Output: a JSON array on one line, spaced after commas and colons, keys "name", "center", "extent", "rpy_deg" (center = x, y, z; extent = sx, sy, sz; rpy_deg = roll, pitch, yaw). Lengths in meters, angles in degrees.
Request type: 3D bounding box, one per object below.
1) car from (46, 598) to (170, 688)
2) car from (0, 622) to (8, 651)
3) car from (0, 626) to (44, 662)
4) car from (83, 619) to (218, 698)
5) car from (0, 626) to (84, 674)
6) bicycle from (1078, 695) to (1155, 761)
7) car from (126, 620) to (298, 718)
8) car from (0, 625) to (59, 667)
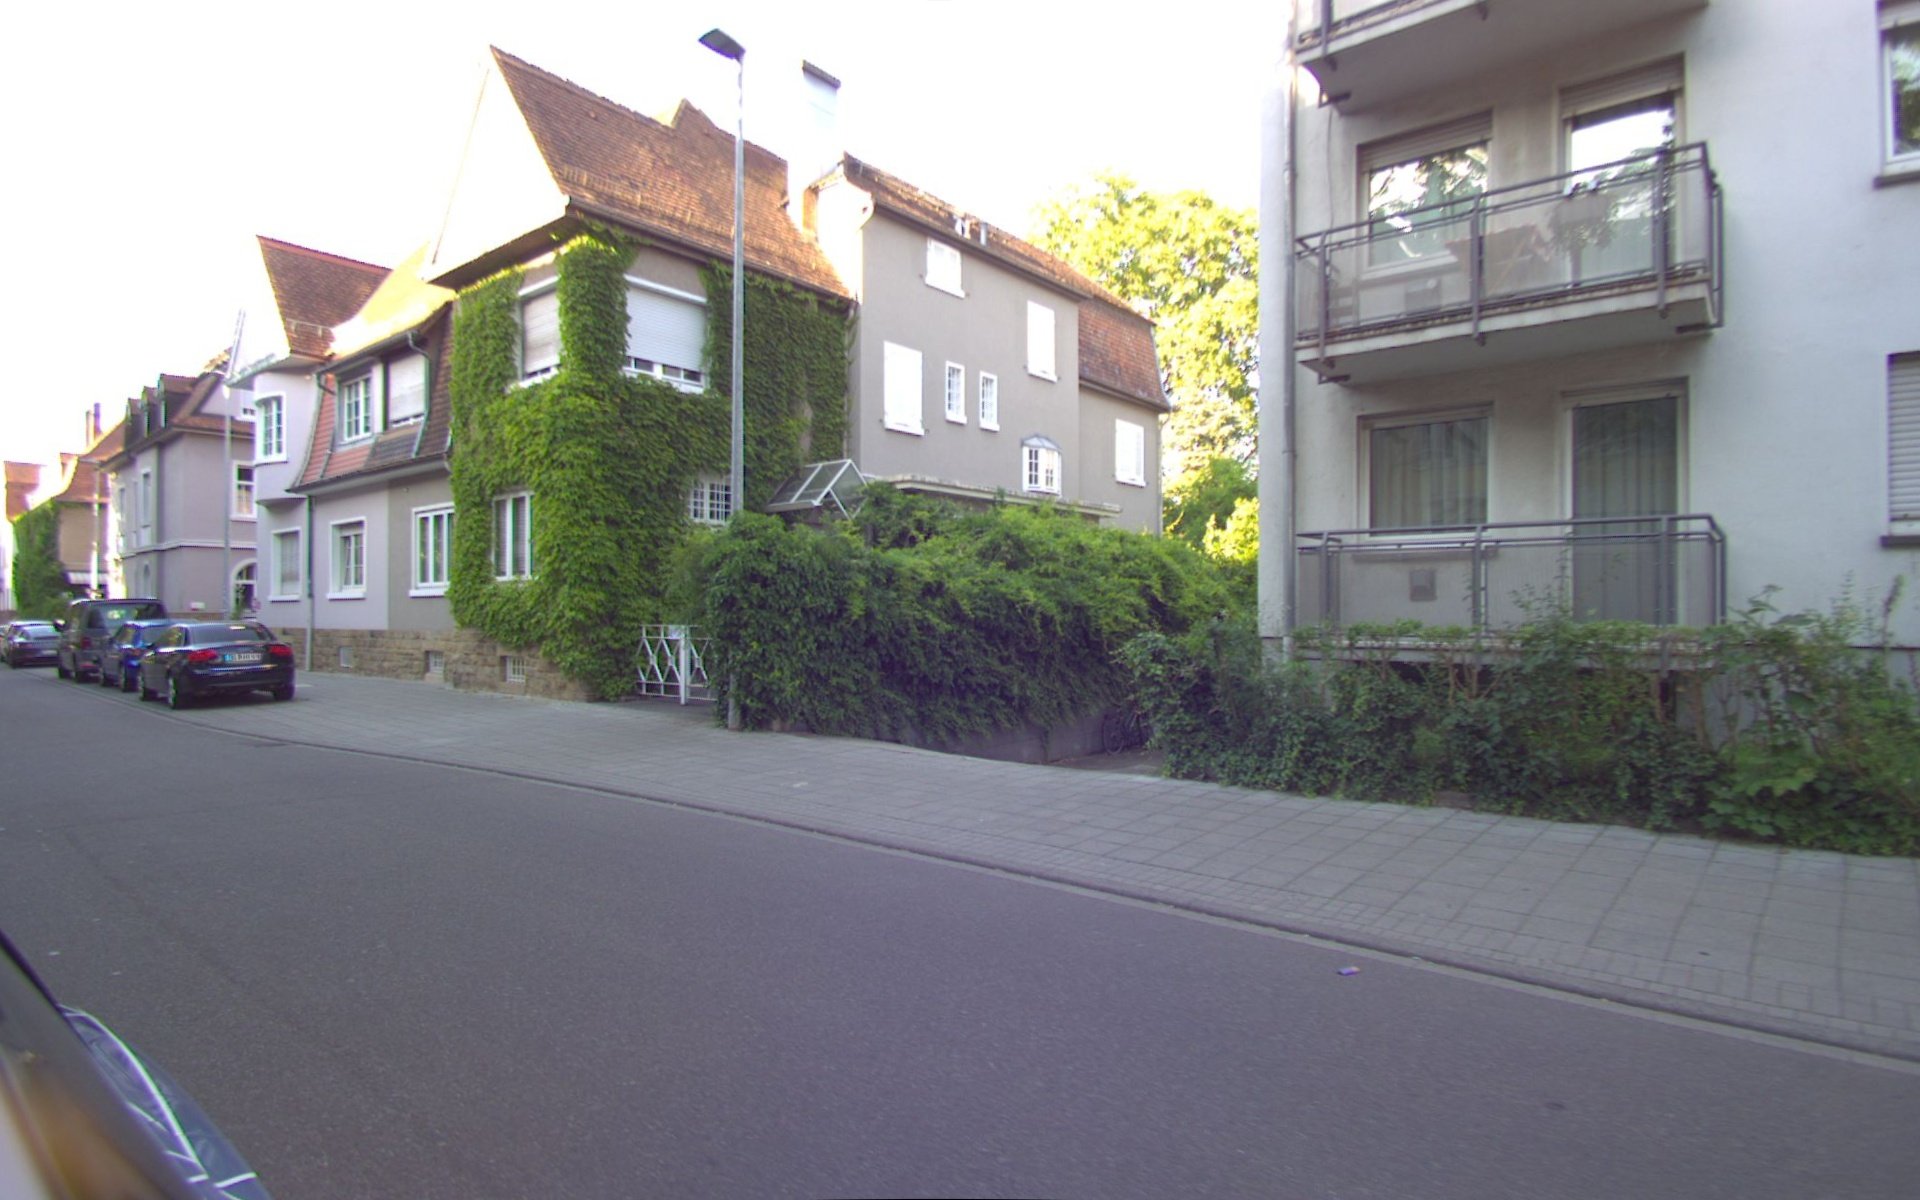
[{"name": "car", "center": [-21.312, 1.003, 25.267], "extent": [4.310, 1.987, 1.697], "rpy_deg": [-1, 2, 42]}, {"name": "car", "center": [-52.629, 1.985, 54.468], "extent": [3.944, 1.481, 1.622], "rpy_deg": [-2, 0, 42]}, {"name": "car", "center": [-39.786, 1.810, 42.358], "extent": [3.944, 1.381, 1.697], "rpy_deg": [-1, 0, 42]}, {"name": "car", "center": [-17.707, 1.205, 22.070], "extent": [4.023, 1.475, 1.590], "rpy_deg": [-1, 2, 42]}, {"name": "car", "center": [-29.934, 1.568, 32.849], "extent": [4.333, 1.381, 1.697], "rpy_deg": [-1, 0, 42]}, {"name": "bicycle", "center": [2.967, 2.380, 19.060], "extent": [0.514, 1.027, 1.913], "rpy_deg": [0, 0, 40]}, {"name": "car", "center": [-13.329, 1.126, 17.949], "extent": [4.024, 1.439, 1.728], "rpy_deg": [-1, 2, 43]}, {"name": "car", "center": [-33.861, 1.638, 36.530], "extent": [3.944, 1.381, 1.521], "rpy_deg": [-1, 0, 42]}]
